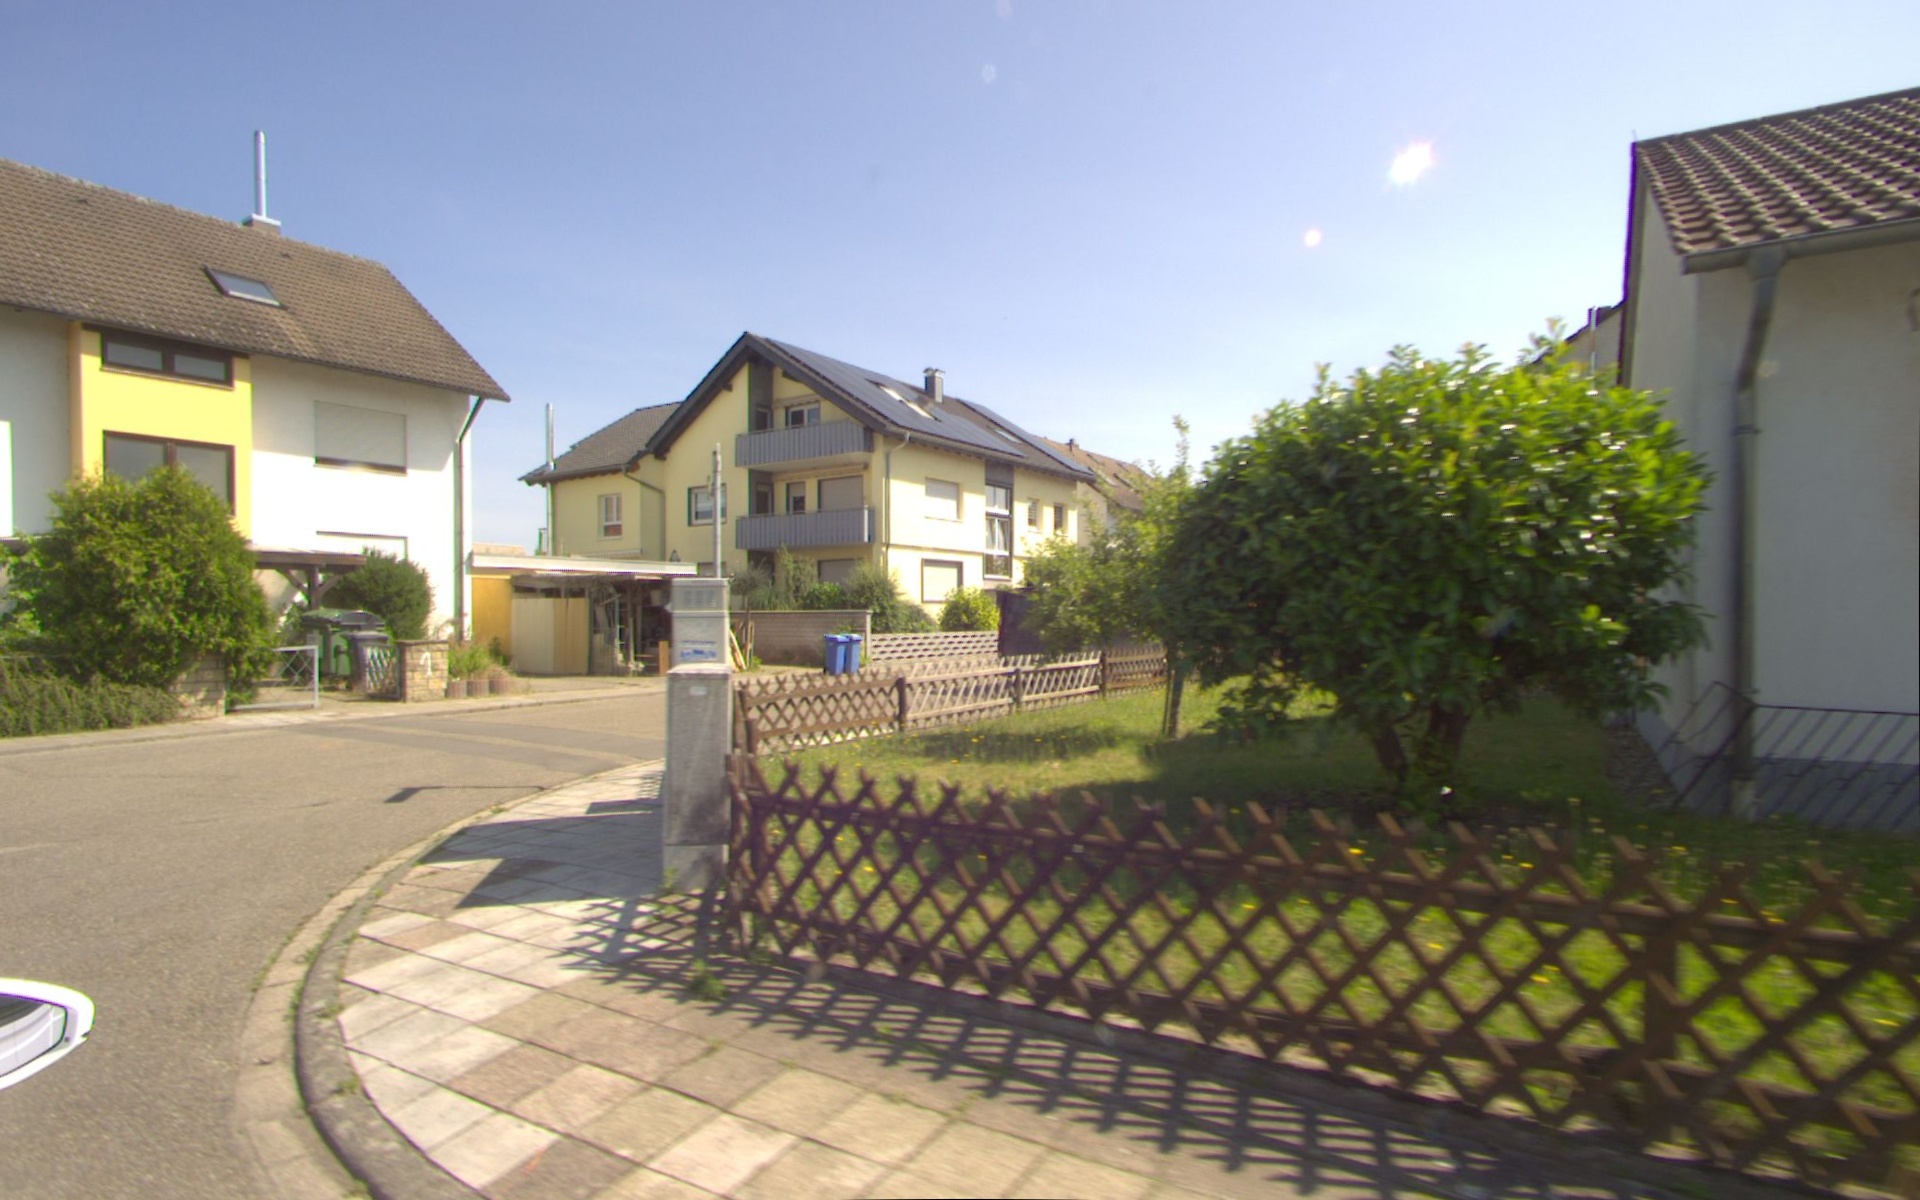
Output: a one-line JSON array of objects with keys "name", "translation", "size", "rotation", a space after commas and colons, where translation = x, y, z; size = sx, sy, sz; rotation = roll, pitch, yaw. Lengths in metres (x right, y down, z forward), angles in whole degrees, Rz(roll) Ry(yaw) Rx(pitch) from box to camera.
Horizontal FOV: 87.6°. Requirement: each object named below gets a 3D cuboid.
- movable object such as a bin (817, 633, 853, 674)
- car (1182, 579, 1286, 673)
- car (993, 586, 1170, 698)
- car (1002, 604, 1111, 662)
[{"name": "movable object such as a bin", "translation": [-2.952, 1.255, 23.639], "size": [0.576, 0.928, 0.595], "rotation": [-1, -1, 33]}, {"name": "car", "translation": [7.520, 0.681, 27.242], "size": [1.534, 2.354, 4.181], "rotation": [-1, -1, 33]}, {"name": "car", "translation": [2.512, 0.779, 19.753], "size": [1.845, 1.963, 4.181], "rotation": [-1, -1, 33]}, {"name": "car", "translation": [3.033, 1.002, 30.917], "size": [1.611, 1.647, 3.976], "rotation": [-1, -1, 35]}]
